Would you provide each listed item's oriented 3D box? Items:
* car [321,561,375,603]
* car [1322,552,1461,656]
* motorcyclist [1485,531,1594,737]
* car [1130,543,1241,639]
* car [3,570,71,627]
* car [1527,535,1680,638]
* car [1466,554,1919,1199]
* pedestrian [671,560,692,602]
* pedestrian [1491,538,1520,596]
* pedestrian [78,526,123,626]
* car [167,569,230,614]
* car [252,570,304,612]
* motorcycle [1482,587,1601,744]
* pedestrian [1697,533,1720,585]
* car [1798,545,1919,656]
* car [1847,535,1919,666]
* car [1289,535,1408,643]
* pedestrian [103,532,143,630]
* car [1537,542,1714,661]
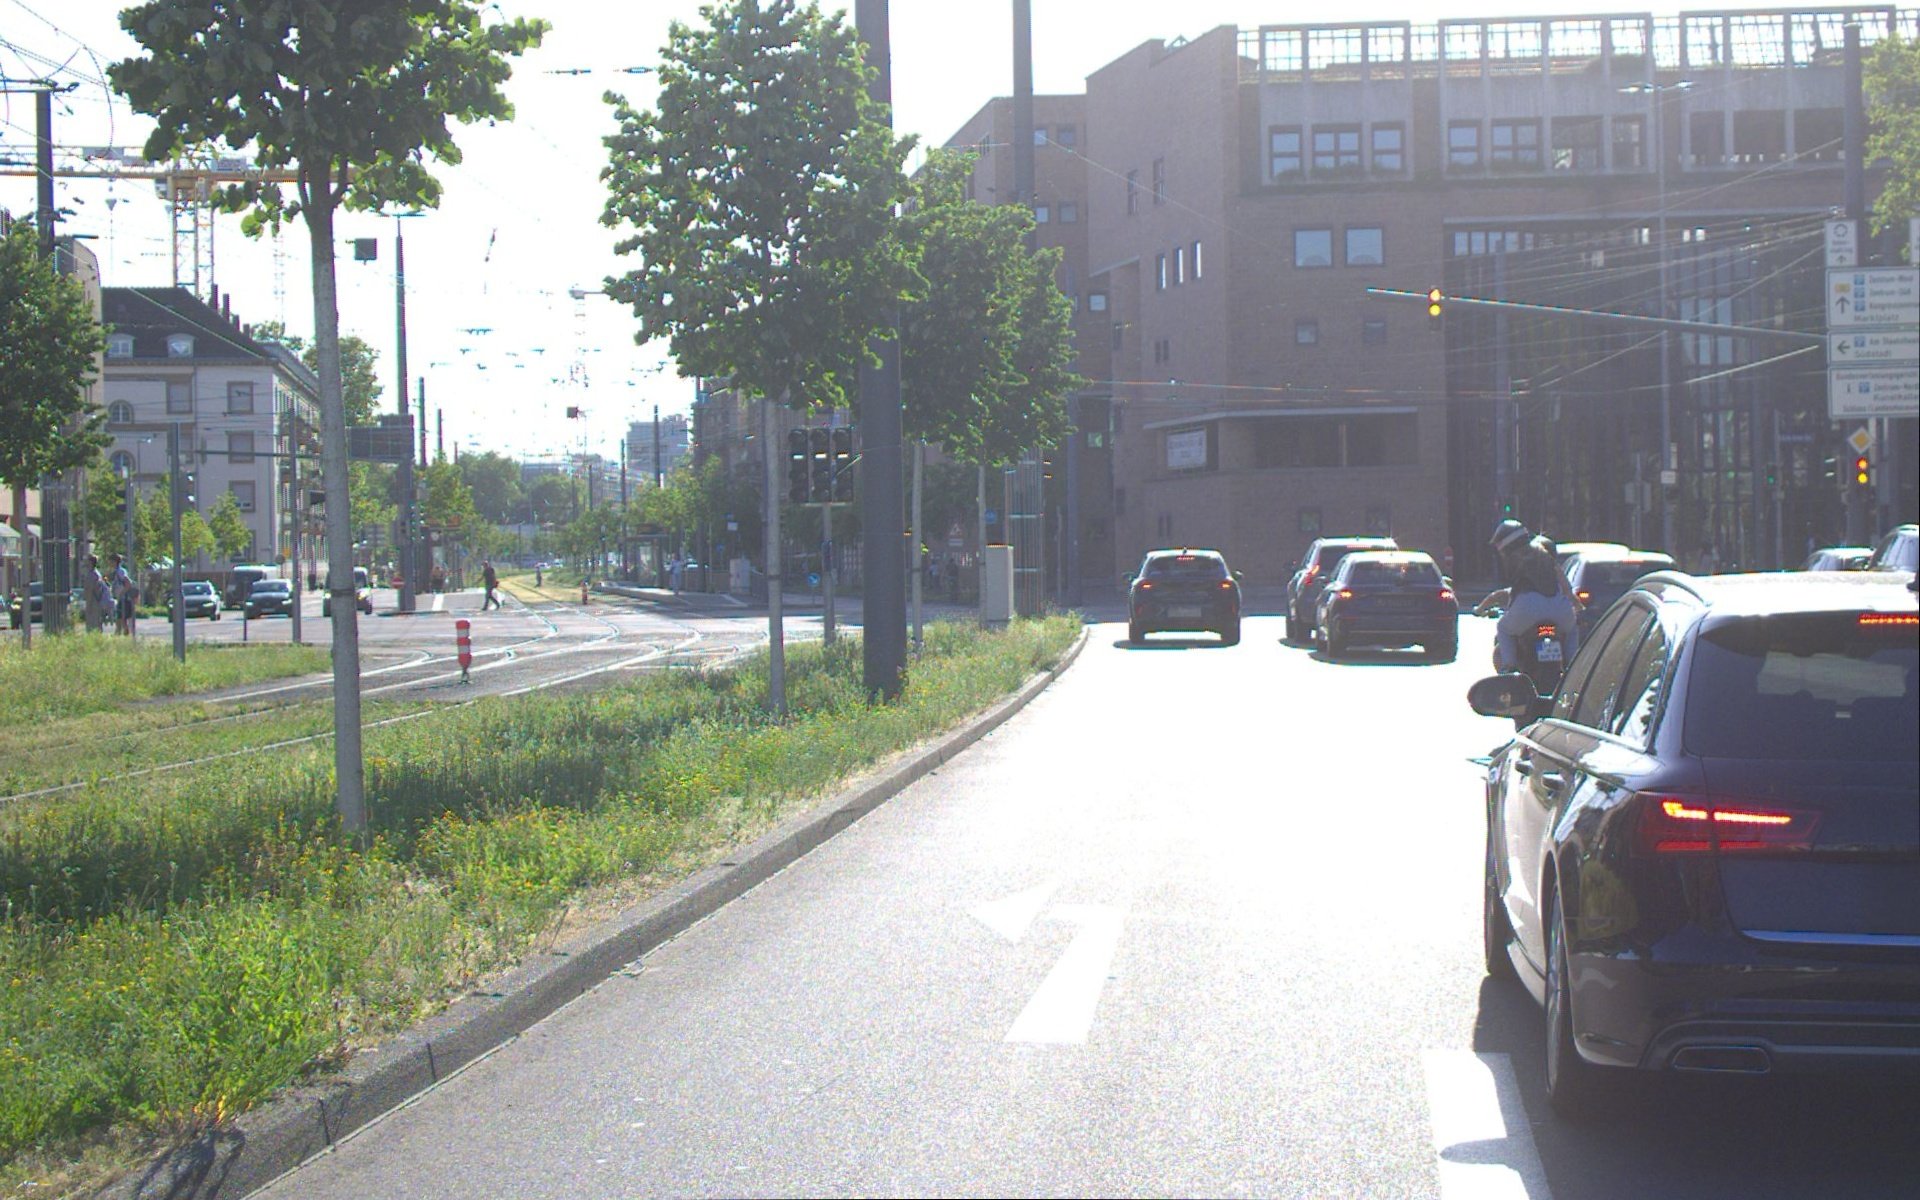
[{"bbox_3d":[-22.795,-0.674,127.918,1.744,1.499,3.881,-1,1,-13],"label":"car"},{"bbox_3d":[5.951,0.026,47.743,1.737,1.345,3.999,-1,1,5],"label":"car"},{"bbox_3d":[4.403,0.248,26.164,0.745,1.525,1.020,-1,1,7],"label":"motorcyclist"},{"bbox_3d":[3.574,-0.165,54.116,1.649,1.428,3.999,-1,1,5],"label":"car"},{"bbox_3d":[-33.956,-0.071,126.591,1.993,2.007,4.001,-1,1,-9],"label":"car"},{"bbox_3d":[9.466,-0.225,50.808,1.807,1.452,3.999,0,1,5],"label":"car"},{"bbox_3d":[2.507,0.628,10.044,1.811,1.487,4.495,1,1,6],"label":"car"},{"bbox_3d":[-10.890,-0.748,134.464,0.742,1.634,0.768,-1,1,-9],"label":"pedestrian"},{"bbox_3d":[16.773,-1.014,105.650,0.707,1.753,0.560,-1,1,29],"label":"pedestrian"},{"bbox_3d":[-15.718,-0.442,62.872,0.631,1.824,0.663,-1,1,-2],"label":"pedestrian"},{"bbox_3d":[-28.571,-0.339,129.063,1.993,1.590,4.740,-2,1,-9],"label":"car"},{"bbox_3d":[-25.626,-0.358,129.032,1.744,1.499,3.881,-1,1,-13],"label":"car"},{"bbox_3d":[4.429,0.480,26.296,0.775,1.111,1.969,-1,1,7],"label":"motorcycle"},{"bbox_3d":[20.959,-1.151,96.237,0.529,1.425,0.598,-1,1,4],"label":"pedestrian"},{"bbox_3d":[14.346,-0.022,53.798,1.994,1.645,3.999,-1,1,8],"label":"car"},{"bbox_3d":[13.910,-0.039,48.266,1.994,1.744,4.328,-1,1,3],"label":"car"},{"bbox_3d":[6.157,-0.199,54.808,1.737,1.645,3.999,-1,1,5],"label":"car"},{"bbox_3d":[-15.533,-0.358,63.819,0.563,1.811,0.663,-1,1,-2],"label":"pedestrian"},{"bbox_3d":[8.500,-0.013,44.187,1.807,1.452,3.999,0,1,5],"label":"car"}]
